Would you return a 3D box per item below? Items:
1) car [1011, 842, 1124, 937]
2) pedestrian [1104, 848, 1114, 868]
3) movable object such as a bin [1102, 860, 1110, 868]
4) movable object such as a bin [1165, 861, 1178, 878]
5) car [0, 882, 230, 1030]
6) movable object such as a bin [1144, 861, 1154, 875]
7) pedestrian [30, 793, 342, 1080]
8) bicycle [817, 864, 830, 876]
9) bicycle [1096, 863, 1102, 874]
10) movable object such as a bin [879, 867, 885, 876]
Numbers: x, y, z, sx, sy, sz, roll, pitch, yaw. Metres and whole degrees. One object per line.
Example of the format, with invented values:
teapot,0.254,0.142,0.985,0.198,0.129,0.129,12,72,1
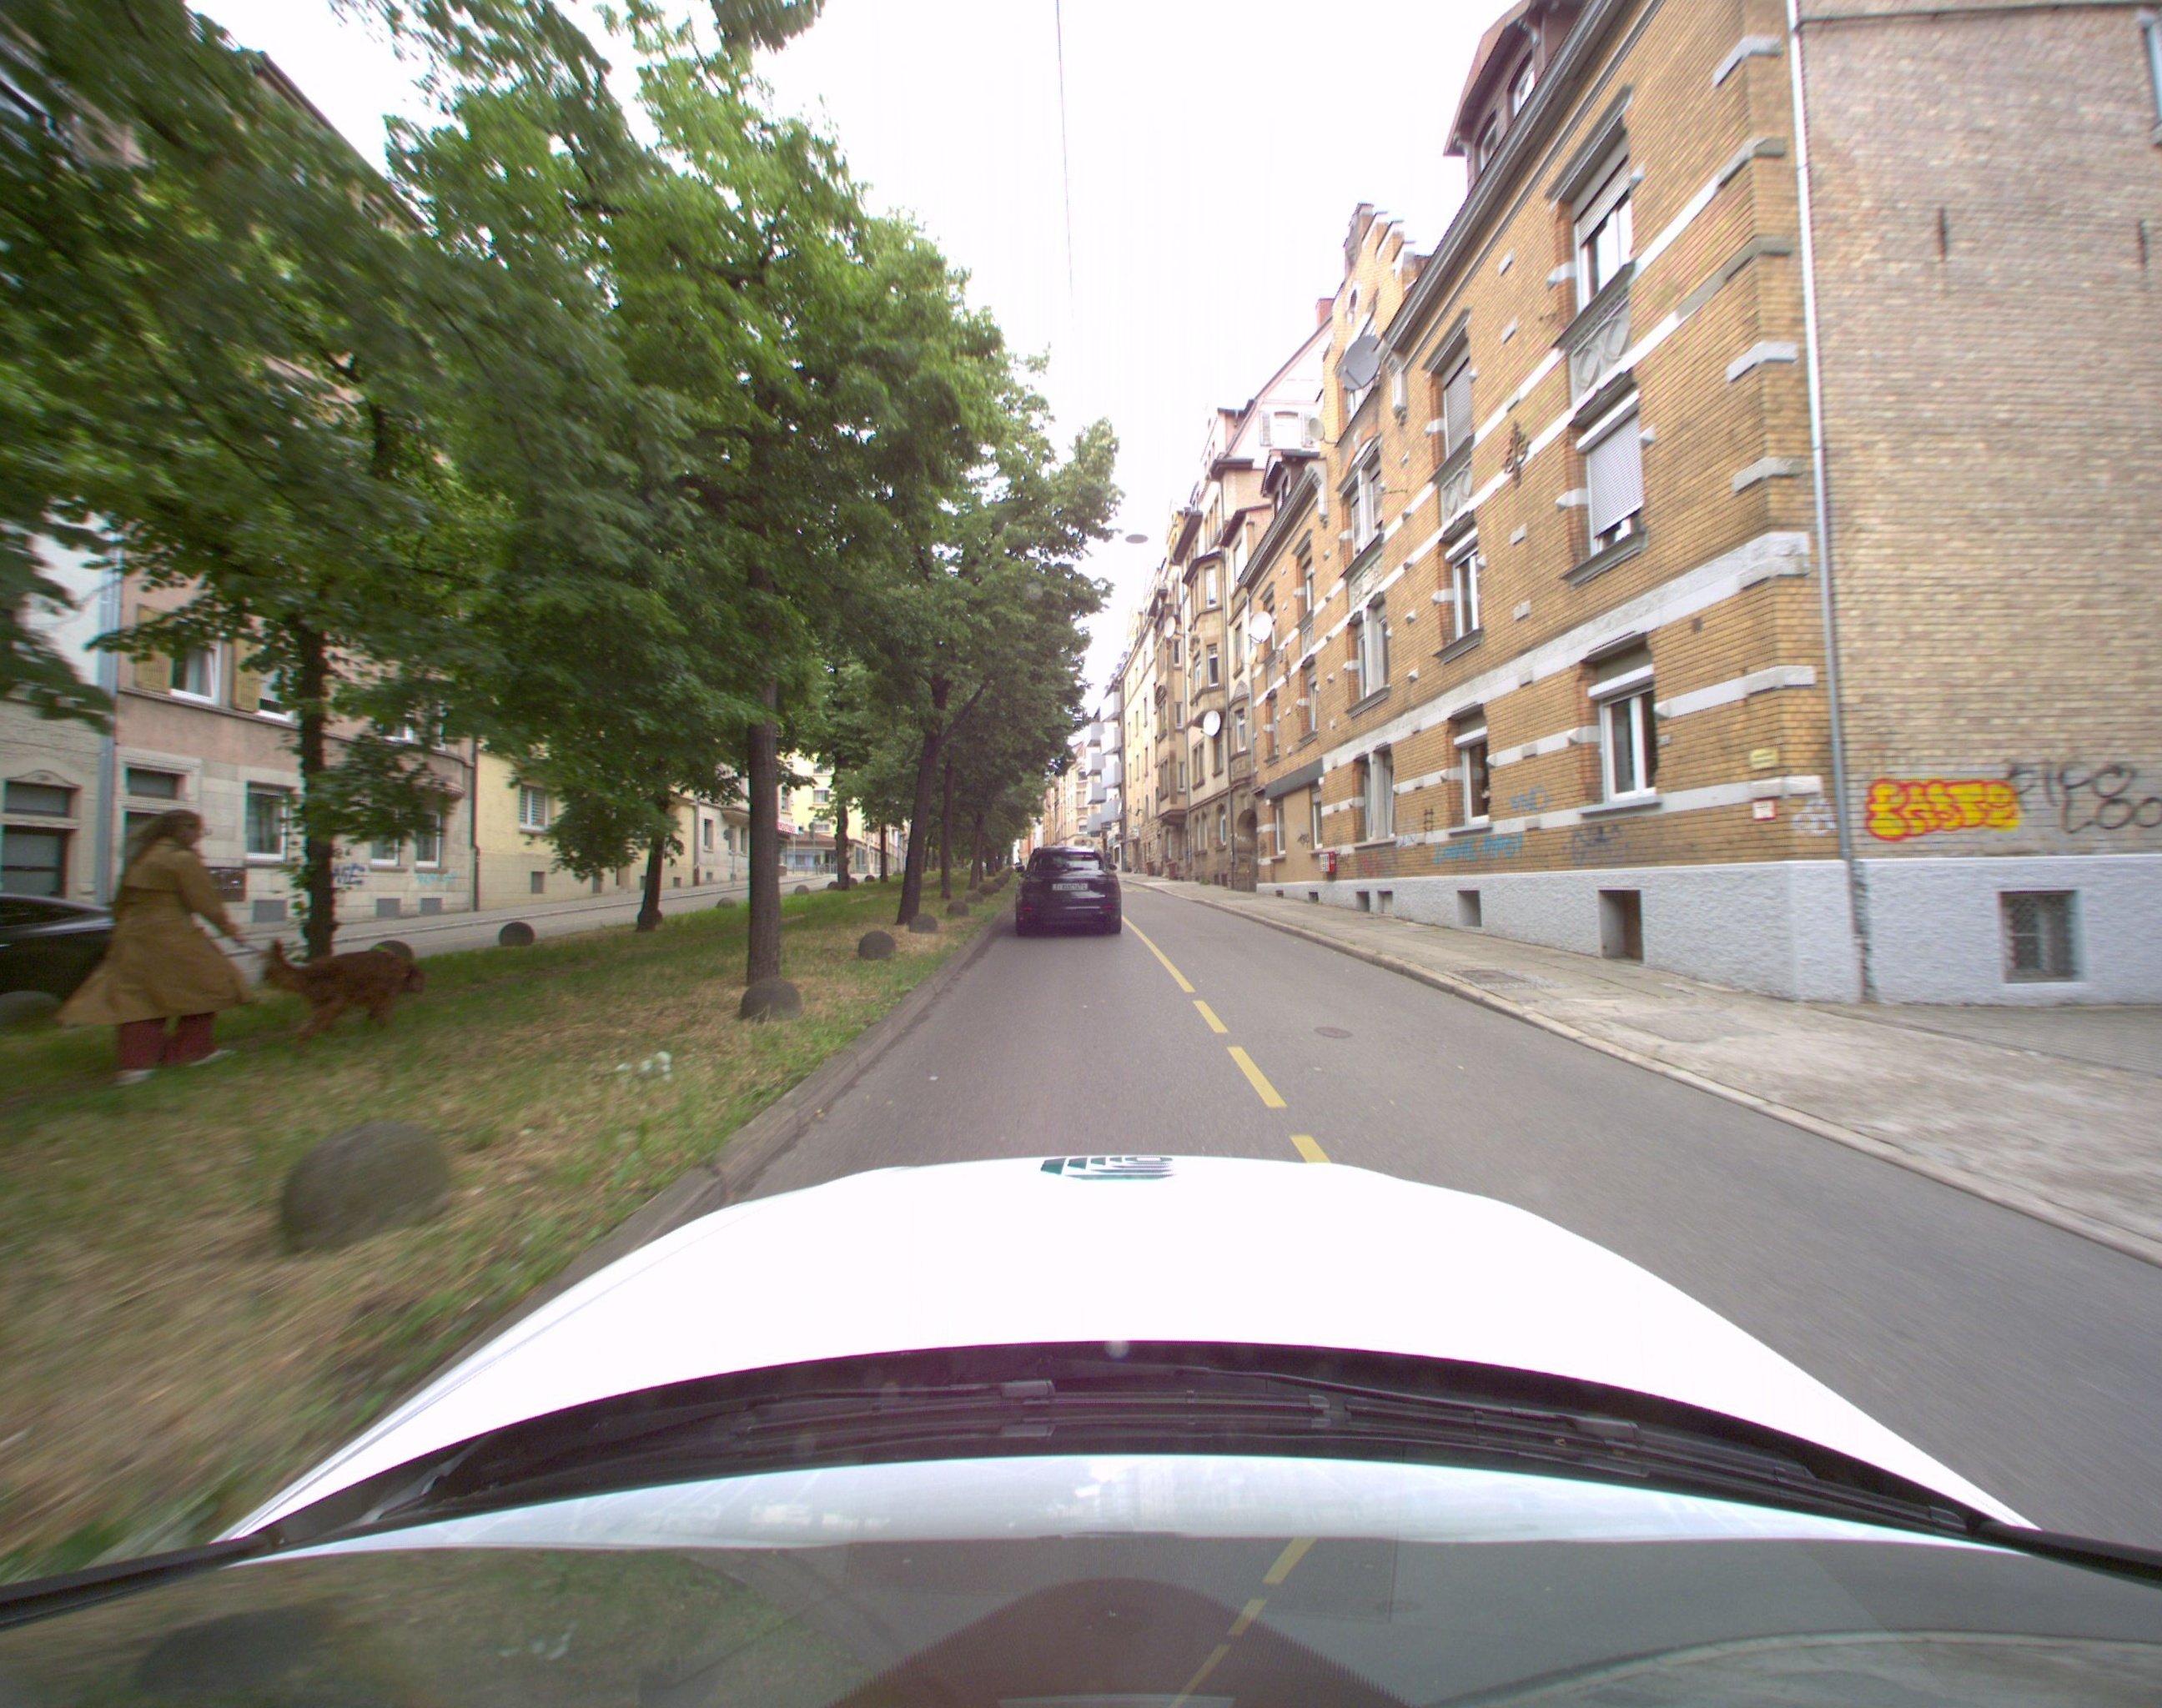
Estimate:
car,-0.239,0.614,16.334,1.987,1.665,3.999,0,0,0
pedestrian,2.376,0.340,69.139,0.750,1.693,0.857,-1,-2,-4
movable object such as a bin,2.153,0.884,69.965,0.606,0.669,0.857,-1,-2,-4
movable object such as a bin,4.788,0.812,43.117,0.593,0.904,0.562,0,-1,-4
car,-11.875,1.131,8.081,1.751,1.382,4.672,-2,1,3
movable object such as a bin,4.324,0.881,51.657,0.593,0.904,0.502,0,-4,-4
pedestrian,-6.044,0.522,5.590,0.830,1.712,1.123,-4,-2,1
bicycle,-23.447,1.462,74.192,0.766,1.085,2.019,2,-3,-27
bicycle,2.244,1.806,101.007,0.446,1.161,1.830,-1,4,-7
movable object such as a bin,-25.035,2.223,102.643,0.692,1.060,0.687,0,-3,-10
